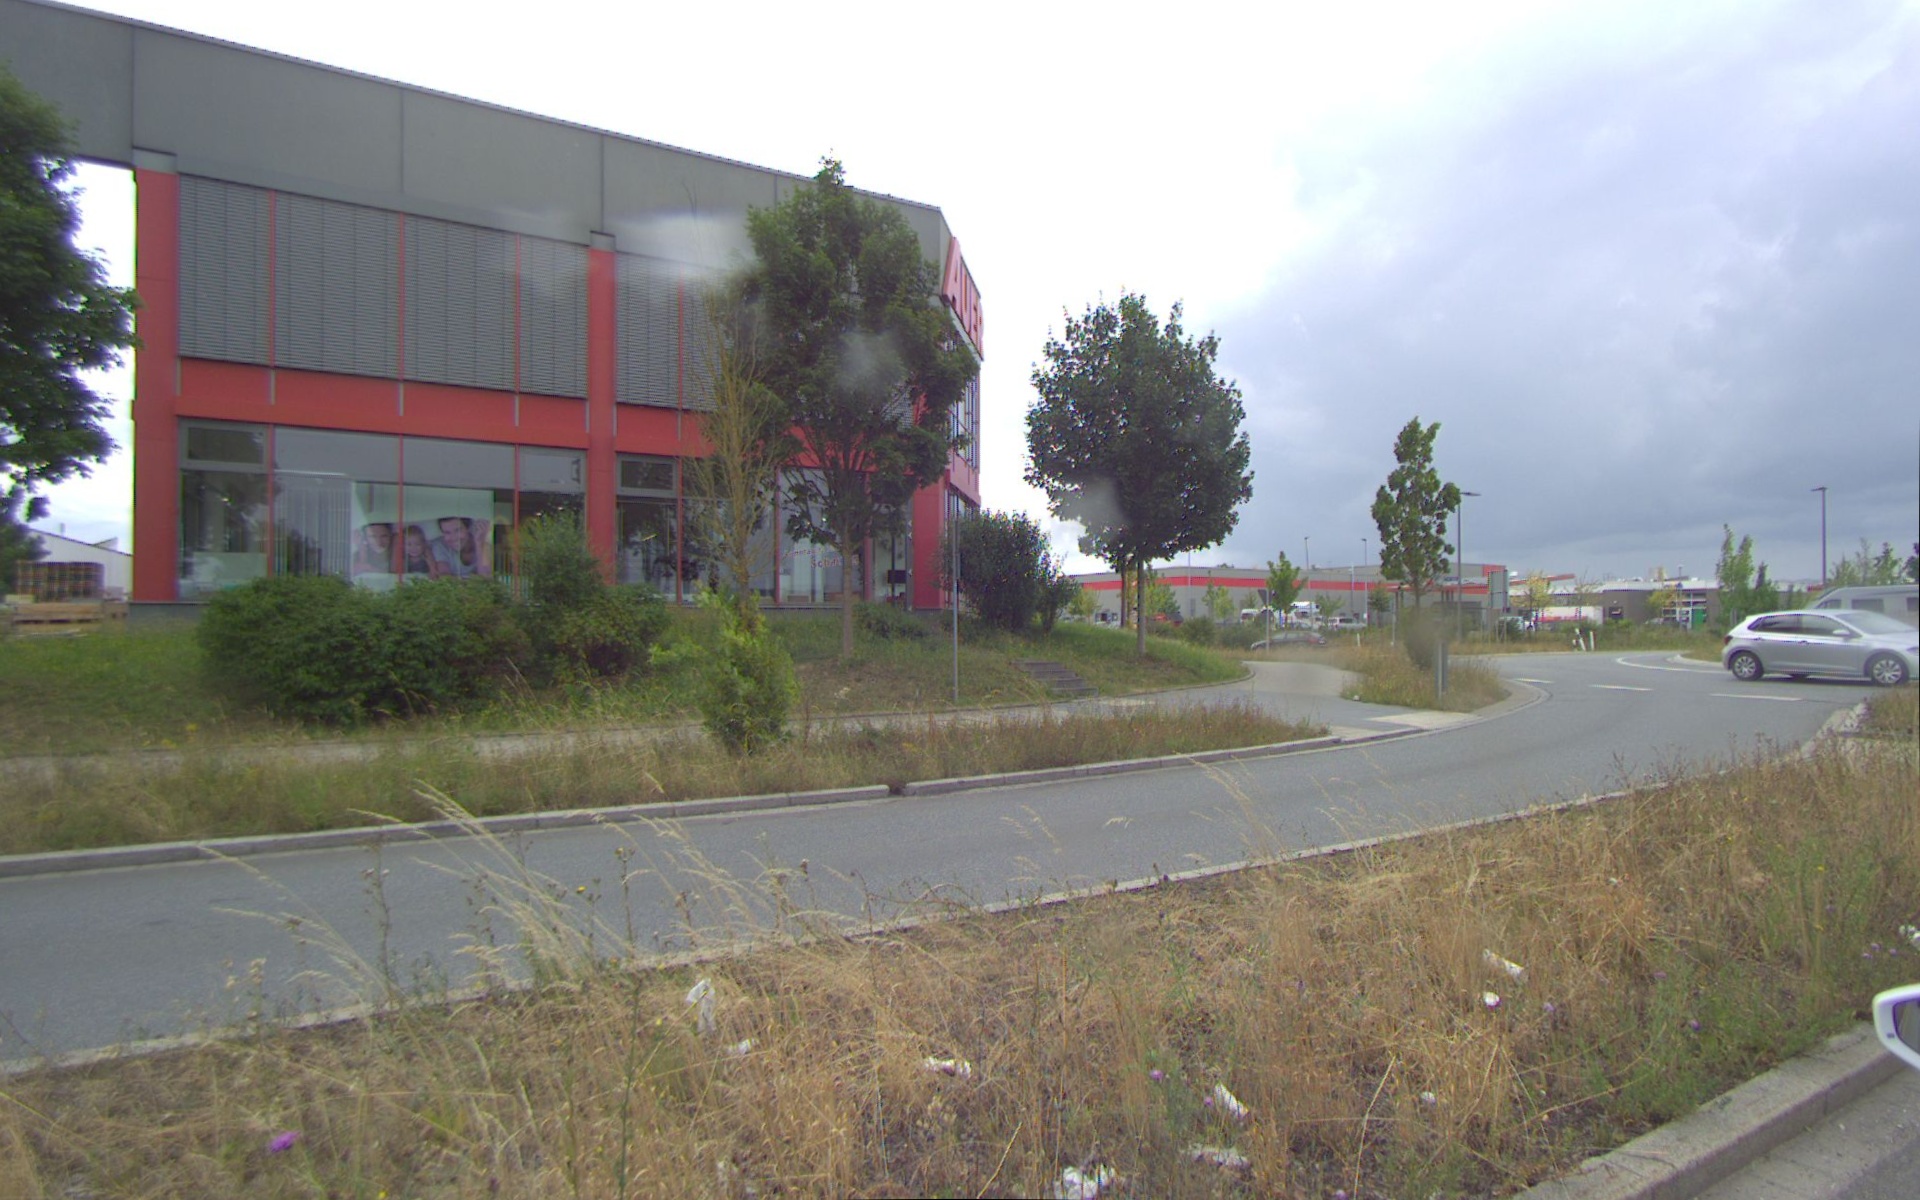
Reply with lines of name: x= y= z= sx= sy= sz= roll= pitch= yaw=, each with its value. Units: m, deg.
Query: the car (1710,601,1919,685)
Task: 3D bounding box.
car: x=17.459 y=0.855 z=19.862 sx=1.784 sy=1.483 sz=3.988 roll=2 pitch=-2 yaw=-16

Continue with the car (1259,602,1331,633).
car: x=32.898 y=1.742 z=98.523 sx=7.606 sy=2.857 sz=2.449 roll=2 pitch=0 yaw=-33

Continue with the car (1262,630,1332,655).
car: x=18.333 y=2.295 z=54.741 sx=1.450 sy=1.342 sz=3.827 roll=1 pitch=-2 yaw=-23

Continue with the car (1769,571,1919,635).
car: x=35.919 y=0.119 z=39.839 sx=5.611 sy=2.419 sz=2.276 roll=2 pitch=0 yaw=31
